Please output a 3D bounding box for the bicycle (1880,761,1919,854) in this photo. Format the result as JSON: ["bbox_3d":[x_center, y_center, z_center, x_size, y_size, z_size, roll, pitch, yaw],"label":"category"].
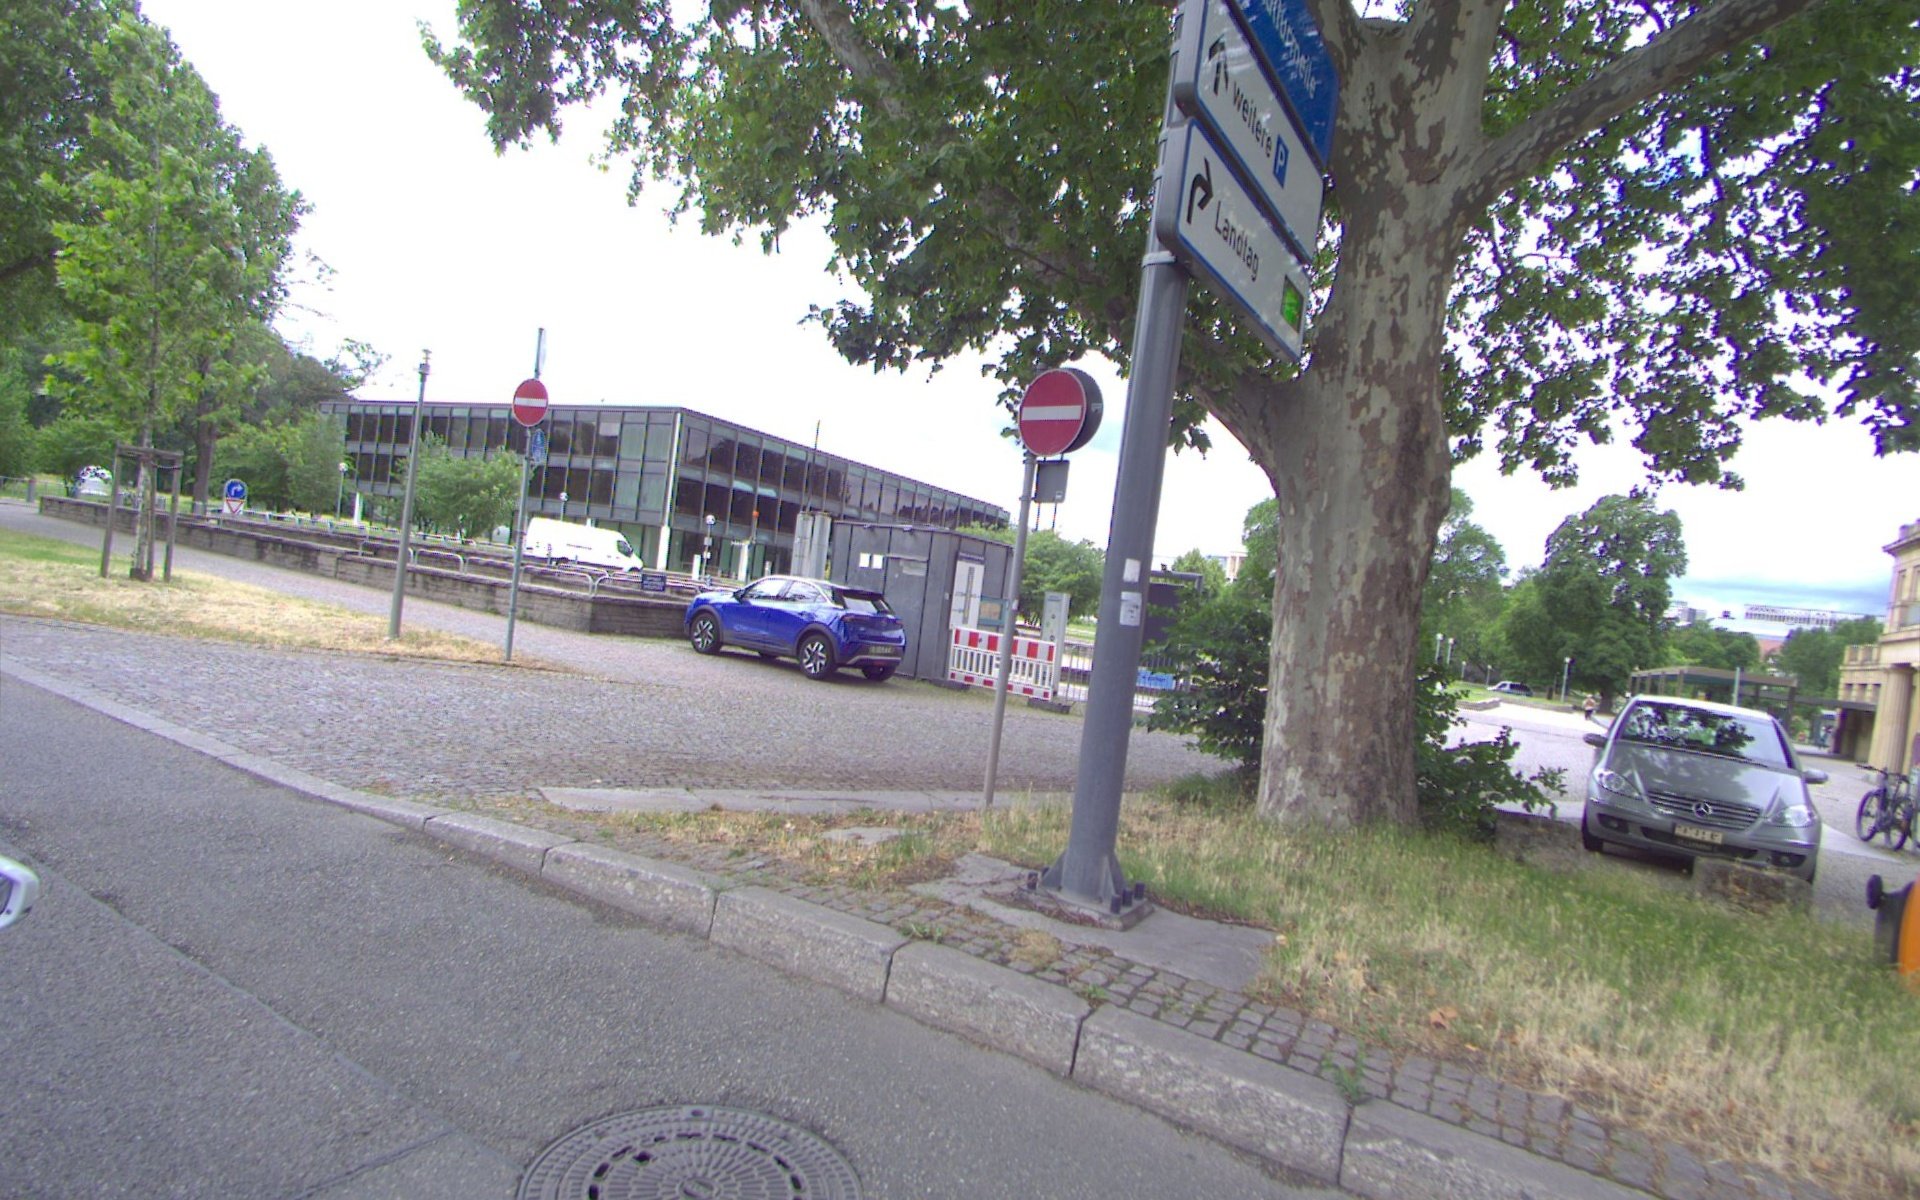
[{"bbox_3d":[13.212,2.869,13.611,0.435,1.145,1.754,8,0,23],"label":"bicycle"}]

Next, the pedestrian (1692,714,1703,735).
[{"bbox_3d":[67.306,11.350,91.831,0.648,1.826,0.539,9,-1,-42],"label":"pedestrian"}]

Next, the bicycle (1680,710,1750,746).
[{"bbox_3d":[37.050,6.289,49.406,2.536,1.360,0.727,7,-2,31],"label":"bicycle"}]

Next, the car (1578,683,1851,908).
[{"bbox_3d":[7.406,1.781,10.255,1.651,1.587,3.842,8,0,31],"label":"car"}]

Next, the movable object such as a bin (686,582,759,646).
[{"bbox_3d":[-4.624,0.277,19.640,0.757,1.078,1.009,11,2,29],"label":"movable object such as a bin"}]

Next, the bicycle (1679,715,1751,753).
[{"bbox_3d":[36.119,6.405,48.176,2.536,1.360,0.727,7,-2,31],"label":"bicycle"}]

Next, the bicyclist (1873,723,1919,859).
[{"bbox_3d":[13.021,2.610,13.776,0.466,1.770,0.437,8,1,23],"label":"bicyclist"}]

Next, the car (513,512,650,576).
[{"bbox_3d":[-18.980,-2.773,50.784,2.362,2.288,6.114,8,0,33],"label":"car"}]

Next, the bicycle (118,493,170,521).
[{"bbox_3d":[-38.982,-4.449,48.050,2.740,0.986,0.956,7,-2,31],"label":"bicycle"}]

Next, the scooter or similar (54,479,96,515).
[{"bbox_3d":[-36.007,-4.199,40.922,2.189,1.259,0.637,7,-2,34],"label":"scooter or similar"}]

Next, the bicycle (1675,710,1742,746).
[{"bbox_3d":[37.843,6.469,50.934,2.536,1.360,0.727,7,-2,31],"label":"bicycle"}]

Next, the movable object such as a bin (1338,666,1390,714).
[{"bbox_3d":[12.682,2.806,31.541,1.134,1.320,1.410,8,0,33],"label":"movable object such as a bin"}]

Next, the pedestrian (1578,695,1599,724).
[{"bbox_3d":[42.715,7.420,68.380,0.929,1.826,0.546,8,-1,4],"label":"pedestrian"}]

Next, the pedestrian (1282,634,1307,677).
[{"bbox_3d":[16.907,2.812,50.868,0.799,2.037,0.624,9,-1,-39],"label":"pedestrian"}]

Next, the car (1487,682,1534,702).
[{"bbox_3d":[68.810,11.462,125.744,4.834,1.758,2.075,7,-2,34],"label":"car"}]

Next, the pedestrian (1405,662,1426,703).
[{"bbox_3d":[21.105,3.820,46.618,0.537,1.826,0.500,8,-1,4],"label":"pedestrian"}]

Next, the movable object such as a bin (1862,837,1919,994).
[{"bbox_3d":[5.308,1.695,5.288,0.718,0.659,1.299,6,-3,39],"label":"movable object such as a bin"}]

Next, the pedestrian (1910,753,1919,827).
[{"bbox_3d":[18.218,3.398,18.693,0.559,1.716,0.431,8,1,30],"label":"pedestrian"}]

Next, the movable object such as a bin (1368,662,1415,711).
[{"bbox_3d":[15.214,3.044,35.422,1.134,1.515,1.410,8,0,33],"label":"movable object such as a bin"}]

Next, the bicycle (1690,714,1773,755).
[{"bbox_3d":[36.178,6.278,47.218,2.848,1.442,0.961,7,-2,27],"label":"bicycle"}]

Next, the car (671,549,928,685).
[{"bbox_3d":[-2.740,0.266,16.874,3.961,1.571,1.762,10,2,34],"label":"car"}]
